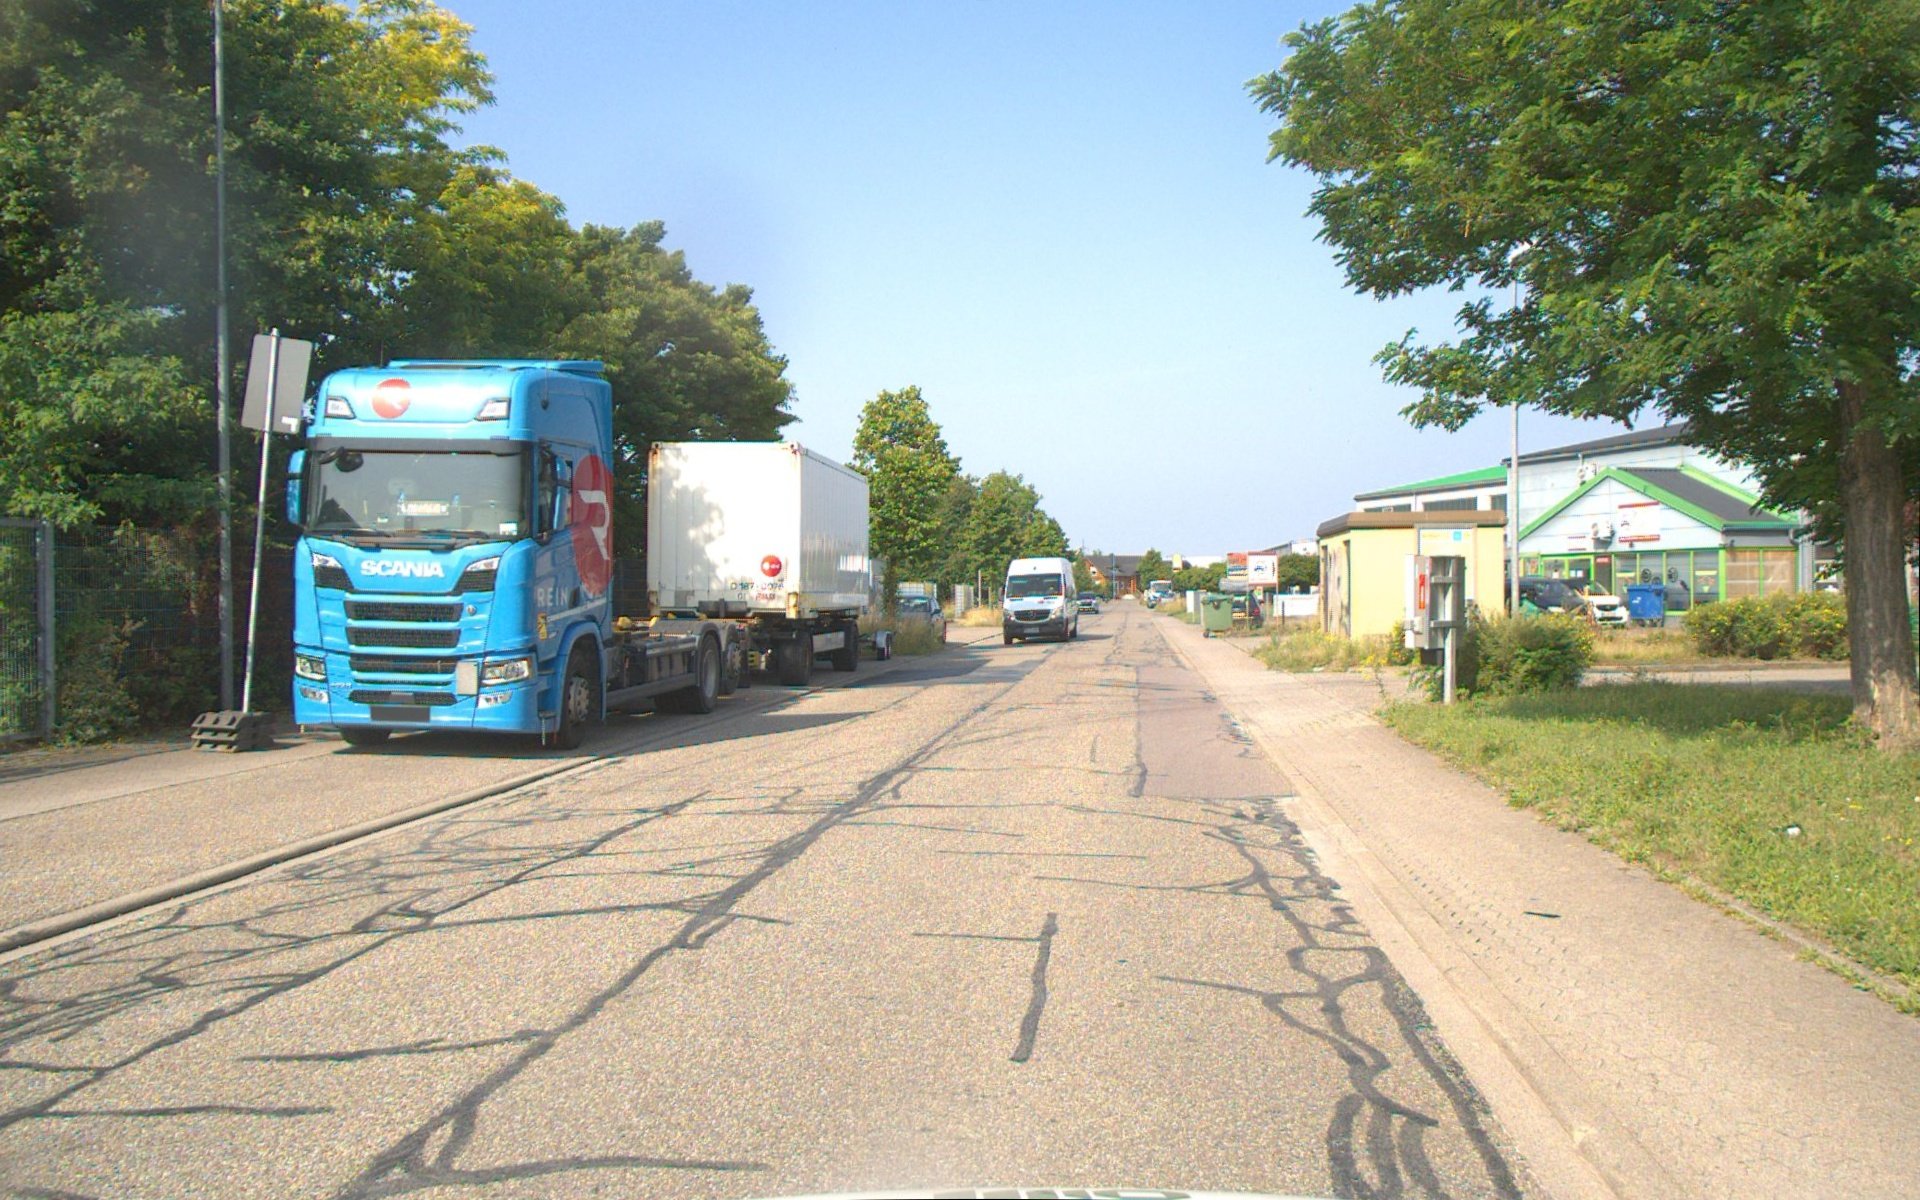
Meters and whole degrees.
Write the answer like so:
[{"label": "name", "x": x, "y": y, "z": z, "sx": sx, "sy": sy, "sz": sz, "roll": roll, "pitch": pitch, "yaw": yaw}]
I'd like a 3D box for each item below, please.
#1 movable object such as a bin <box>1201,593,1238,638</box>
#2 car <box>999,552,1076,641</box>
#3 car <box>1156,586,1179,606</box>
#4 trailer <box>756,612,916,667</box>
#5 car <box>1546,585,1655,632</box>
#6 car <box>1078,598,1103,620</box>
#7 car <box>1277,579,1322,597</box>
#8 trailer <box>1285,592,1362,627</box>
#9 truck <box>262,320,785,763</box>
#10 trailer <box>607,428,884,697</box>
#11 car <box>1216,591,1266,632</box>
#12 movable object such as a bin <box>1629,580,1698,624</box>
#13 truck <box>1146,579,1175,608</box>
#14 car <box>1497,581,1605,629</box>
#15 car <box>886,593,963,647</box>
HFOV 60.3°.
[{"label": "movable object such as a bin", "x": 8.320, "y": 0.491, "z": 53.090, "sx": 1.058, "sy": 1.377, "sz": 1.507, "roll": -3, "pitch": 0, "yaw": 7}, {"label": "car", "x": 2.543, "y": -0.126, "z": 52.416, "sx": 1.951, "sy": 2.591, "sz": 6.995, "roll": -2, "pitch": 0, "yaw": 6}, {"label": "car", "x": 17.167, "y": -0.339, "z": 136.861, "sx": 1.756, "sy": 1.544, "sz": 4.427, "roll": -1, "pitch": 0, "yaw": 6}, {"label": "trailer", "x": -2.649, "y": 0.841, "z": 37.270, "sx": 2.593, "sy": 1.002, "sz": 6.247, "roll": -1, "pitch": 0, "yaw": 5}, {"label": "car", "x": 19.763, "y": 0.251, "z": 51.179, "sx": 1.554, "sy": 1.369, "sz": 3.175, "roll": -1, "pitch": 1, "yaw": -16}, {"label": "car", "x": 10.081, "y": 0.694, "z": 127.613, "sx": 1.773, "sy": 1.655, "sz": 4.252, "roll": -1, "pitch": 0, "yaw": 5}, {"label": "car", "x": 31.831, "y": -1.140, "z": 154.941, "sx": 4.488, "sy": 1.616, "sz": 1.664, "roll": -1, "pitch": 0, "yaw": -39}, {"label": "trailer", "x": 13.590, "y": 0.342, "z": 61.924, "sx": 1.468, "sy": 1.270, "sz": 2.960, "roll": 1, "pitch": 0, "yaw": -20}, {"label": "truck", "x": -4.458, "y": -0.554, "z": 19.681, "sx": 2.655, "sy": 3.952, "sz": 9.643, "roll": 1, "pitch": 0, "yaw": 6}, {"label": "trailer", "x": -3.406, "y": -0.587, "z": 29.305, "sx": 2.643, "sy": 3.952, "sz": 9.772, "roll": 1, "pitch": 0, "yaw": 6}, {"label": "car", "x": 10.033, "y": 0.376, "z": 58.878, "sx": 1.638, "sy": 1.392, "sz": 4.397, "roll": -1, "pitch": 0, "yaw": 11}, {"label": "movable object such as a bin", "x": 22.263, "y": 0.058, "z": 52.358, "sx": 0.980, "sy": 1.369, "sz": 2.000, "roll": -1, "pitch": 0, "yaw": -16}, {"label": "truck", "x": 19.476, "y": -0.668, "z": 160.663, "sx": 2.310, "sy": 2.728, "sz": 6.513, "roll": -1, "pitch": 0, "yaw": 3}, {"label": "car", "x": 17.897, "y": 0.140, "z": 50.195, "sx": 1.554, "sy": 1.369, "sz": 3.175, "roll": -1, "pitch": 0, "yaw": -16}, {"label": "car", "x": -1.004, "y": 0.565, "z": 48.706, "sx": 1.651, "sy": 1.496, "sz": 4.096, "roll": -1, "pitch": 0, "yaw": 7}]
